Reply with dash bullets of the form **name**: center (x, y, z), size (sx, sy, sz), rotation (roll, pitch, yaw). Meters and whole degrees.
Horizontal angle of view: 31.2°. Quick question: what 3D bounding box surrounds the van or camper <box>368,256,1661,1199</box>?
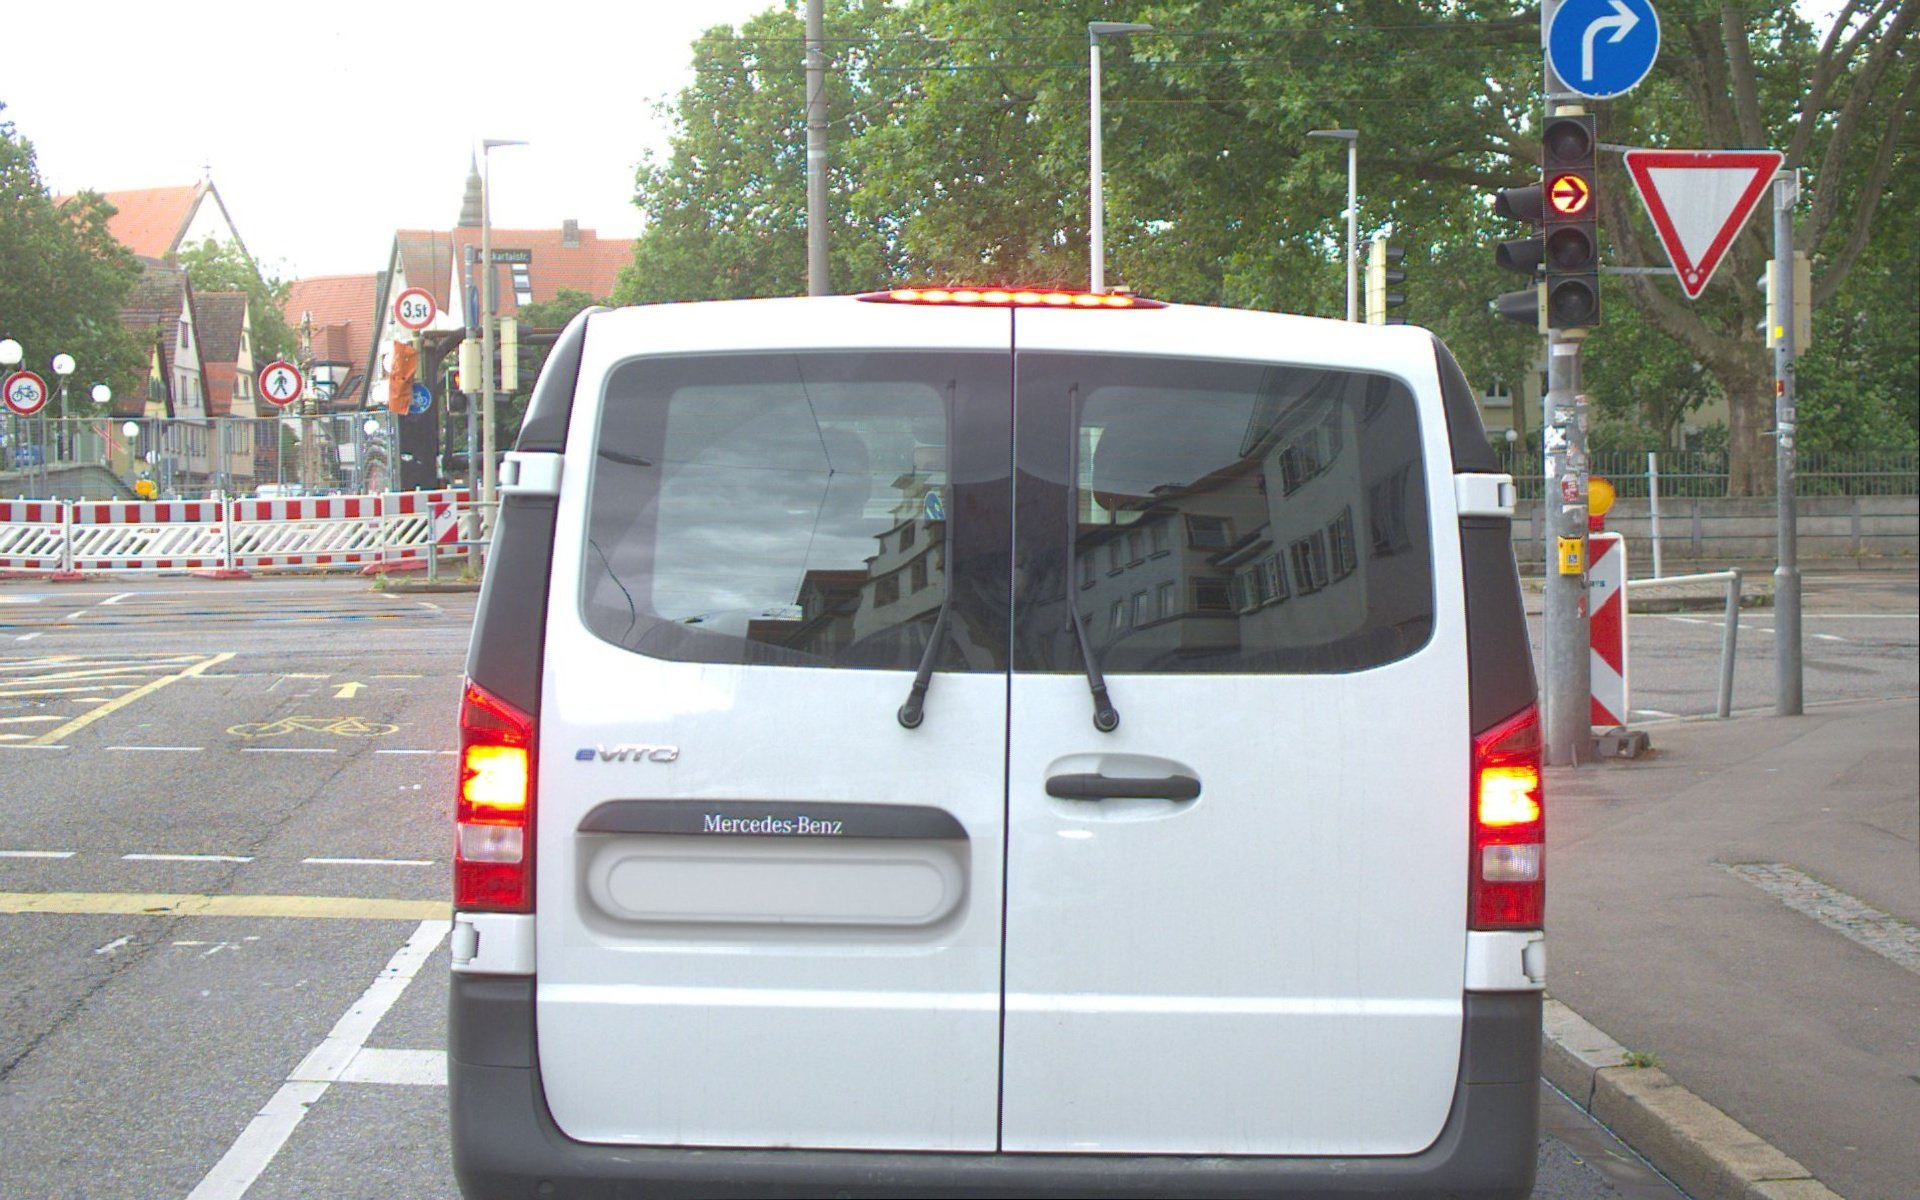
- **van or camper**: center (-0.056, 0.347, 7.426), size (1.937, 1.918, 4.442), rotation (1, 3, -4)
